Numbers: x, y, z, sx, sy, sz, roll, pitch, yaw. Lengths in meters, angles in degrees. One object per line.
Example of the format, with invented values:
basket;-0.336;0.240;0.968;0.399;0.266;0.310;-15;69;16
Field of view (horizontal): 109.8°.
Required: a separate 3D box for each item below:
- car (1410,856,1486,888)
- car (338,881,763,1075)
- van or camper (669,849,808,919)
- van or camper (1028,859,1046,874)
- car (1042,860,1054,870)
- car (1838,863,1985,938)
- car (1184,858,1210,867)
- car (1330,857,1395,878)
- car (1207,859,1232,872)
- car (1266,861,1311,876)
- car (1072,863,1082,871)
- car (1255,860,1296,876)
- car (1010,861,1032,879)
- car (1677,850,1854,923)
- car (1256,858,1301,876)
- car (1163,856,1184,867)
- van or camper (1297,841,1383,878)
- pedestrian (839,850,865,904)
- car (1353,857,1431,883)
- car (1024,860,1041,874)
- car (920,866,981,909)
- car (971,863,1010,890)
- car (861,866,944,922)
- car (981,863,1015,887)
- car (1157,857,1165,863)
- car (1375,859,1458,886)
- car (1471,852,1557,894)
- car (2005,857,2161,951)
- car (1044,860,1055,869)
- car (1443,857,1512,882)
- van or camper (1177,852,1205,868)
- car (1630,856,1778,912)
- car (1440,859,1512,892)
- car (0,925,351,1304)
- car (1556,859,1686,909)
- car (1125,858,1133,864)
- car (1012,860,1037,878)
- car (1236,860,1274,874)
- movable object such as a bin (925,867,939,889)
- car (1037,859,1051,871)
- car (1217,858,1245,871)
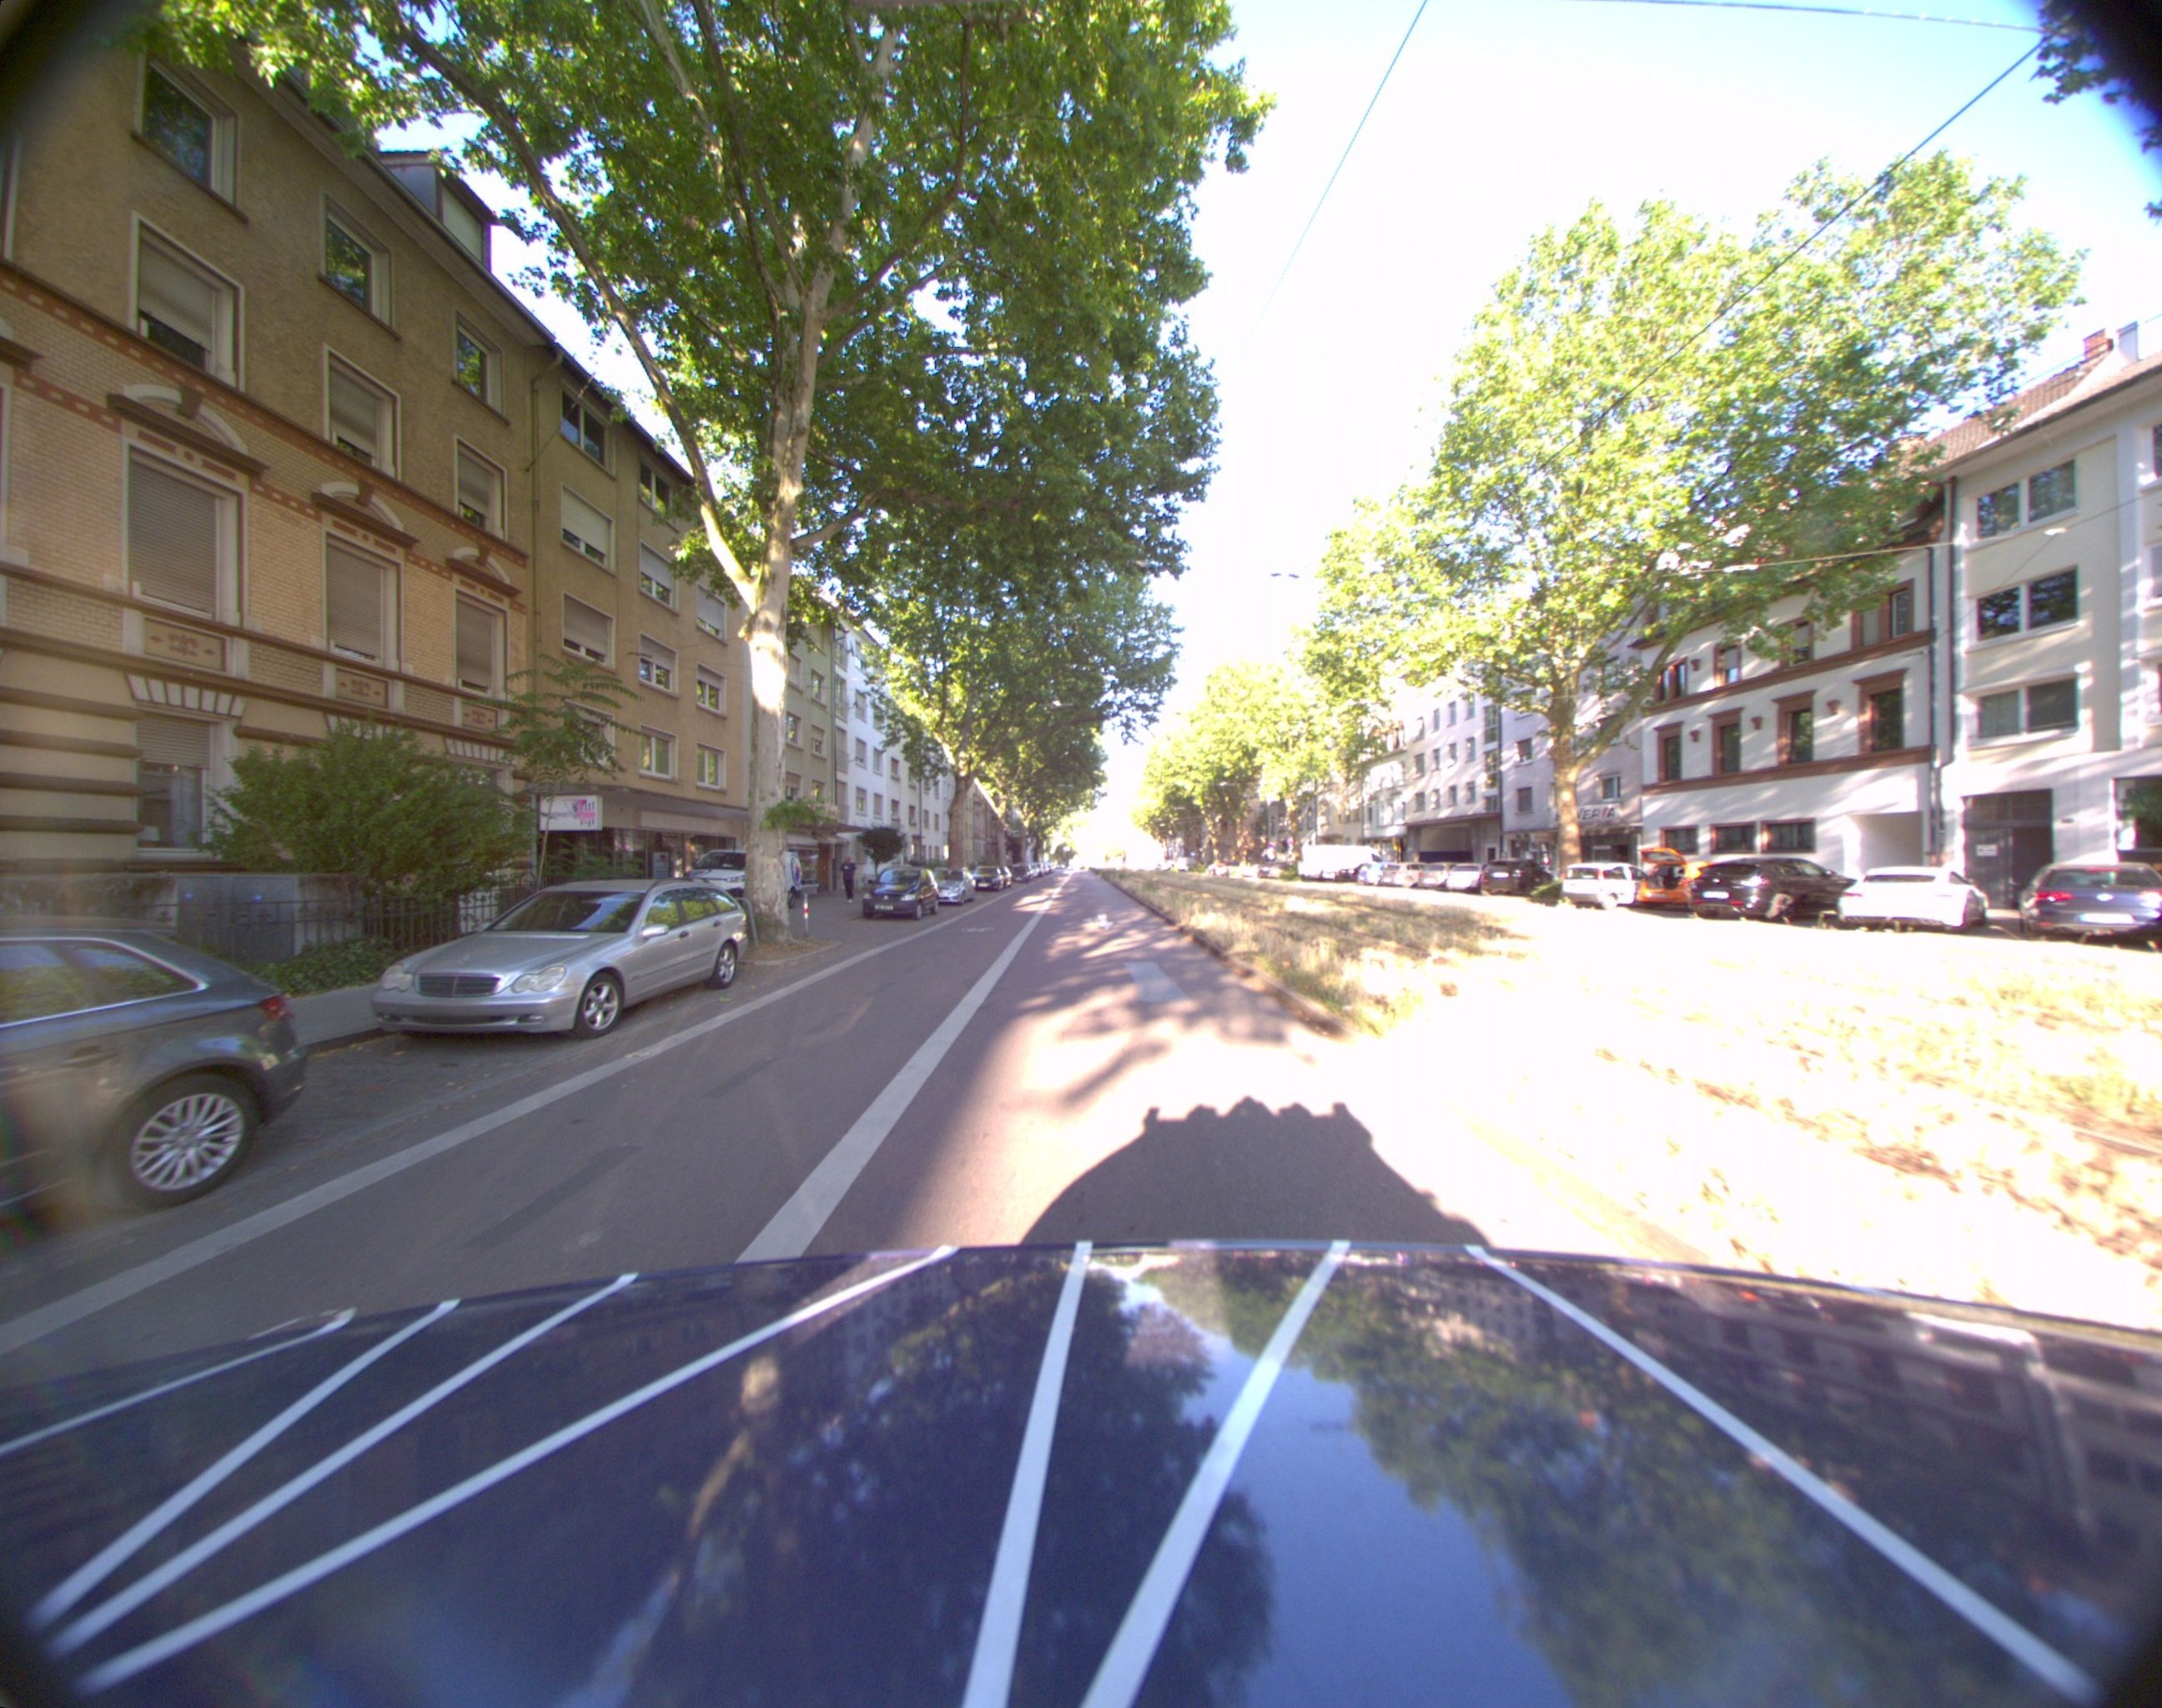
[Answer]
car;19.133;0.907;39.545;4.006;1.414;1.752;-3;0;-34
car;-5.329;1.105;8.564;1.678;1.443;4.570;0;0;-2
van or camper;-10.394;0.840;23.606;1.947;1.911;5.391;0;0;-1
van or camper;-5.237;1.458;91.348;1.790;1.710;4.379;1;0;1
car;-5.129;1.730;118.447;1.790;1.458;3.570;1;0;0
car;18.656;0.960;17.028;4.212;1.325;1.718;-3;0;-36
car;19.210;1.394;125.795;4.006;1.240;1.726;-4;1;-34
car;19.806;0.939;53.538;4.004;1.481;1.997;0;-1;-22
car;15.203;1.242;83.744;1.825;1.381;4.484;2;0;-1
car;18.829;1.320;68.857;4.014;1.349;1.797;1;-1;-37
car;-0.887;2.860;166.831;1.893;1.501;4.000;-3;0;1
car;19.363;1.359;75.524;4.008;1.524;1.821;2;-1;-35
car;-5.158;1.359;65.128;1.748;1.455;4.024;-1;0;-5
car;18.333;0.834;20.347;4.370;1.776;1.989;1;0;-26
car;18.782;1.248;72.145;4.169;1.583;1.932;2;-1;-36
car;18.611;1.510;153.413;4.007;2.002;1.995;-3;0;-42
van or camper;19.085;0.377;56.053;5.974;2.630;2.175;-1;0;-20
pedestrian;-8.658;0.875;28.779;0.684;2.002;1.012;-1;0;-1
car;19.048;0.964;46.627;3.998;1.412;1.857;-3;0;-4
car;-5.384;1.440;85.049;1.702;1.517;4.194;0;0;0
car;-5.253;1.303;31.115;1.699;1.533;4.777;0;0;-1
car;-5.234;1.265;44.315;1.713;1.407;4.363;2;0;0
car;-5.385;1.160;23.359;1.658;1.536;4.000;0;0;-1
car;-5.310;1.310;49.206;1.713;1.407;4.363;2;0;0
car;21.175;1.641;201.331;1.998;1.412;4.000;-3;0;2
car;19.253;1.014;43.676;4.002;1.483;1.948;0;0;-13
car;18.743;0.785;32.829;4.008;1.651;1.995;-1;-1;-41
car;19.386;0.877;14.618;4.007;1.433;1.797;-3;0;-42
car;-5.235;1.722;125.740;1.791;1.585;4.013;1;0;-1
car;28.723;1.116;55.077;3.997;1.710;1.906;0;0;-1
van or camper;18.608;0.969;128.326;4.371;2.386;2.196;-4;1;-40
car;19.541;0.906;23.855;4.003;1.471;1.774;-3;0;-20
car;19.003;1.010;36.488;4.008;1.377;1.907;-2;0;-44
car;-5.181;1.101;2.296;1.714;1.388;4.322;0;0;1
car;18.083;0.937;25.407;4.369;1.440;1.655;-1;1;-26
car;12.932;1.819;204.340;1.997;1.477;4.002;-3;0;8
car;-5.347;1.360;71.905;1.999;1.557;4.664;2;0;0
car;18.362;1.372;80.030;3.687;1.381;1.822;-1;0;-31
movable object such as a bin;-8.260;1.328;42.127;0.617;1.152;0.666;0;0;-3
car;-5.278;1.605;108.372;1.790;1.609;3.829;1;0;0
car;19.015;1.339;96.005;1.726;1.643;4.009;-1;-1;40
